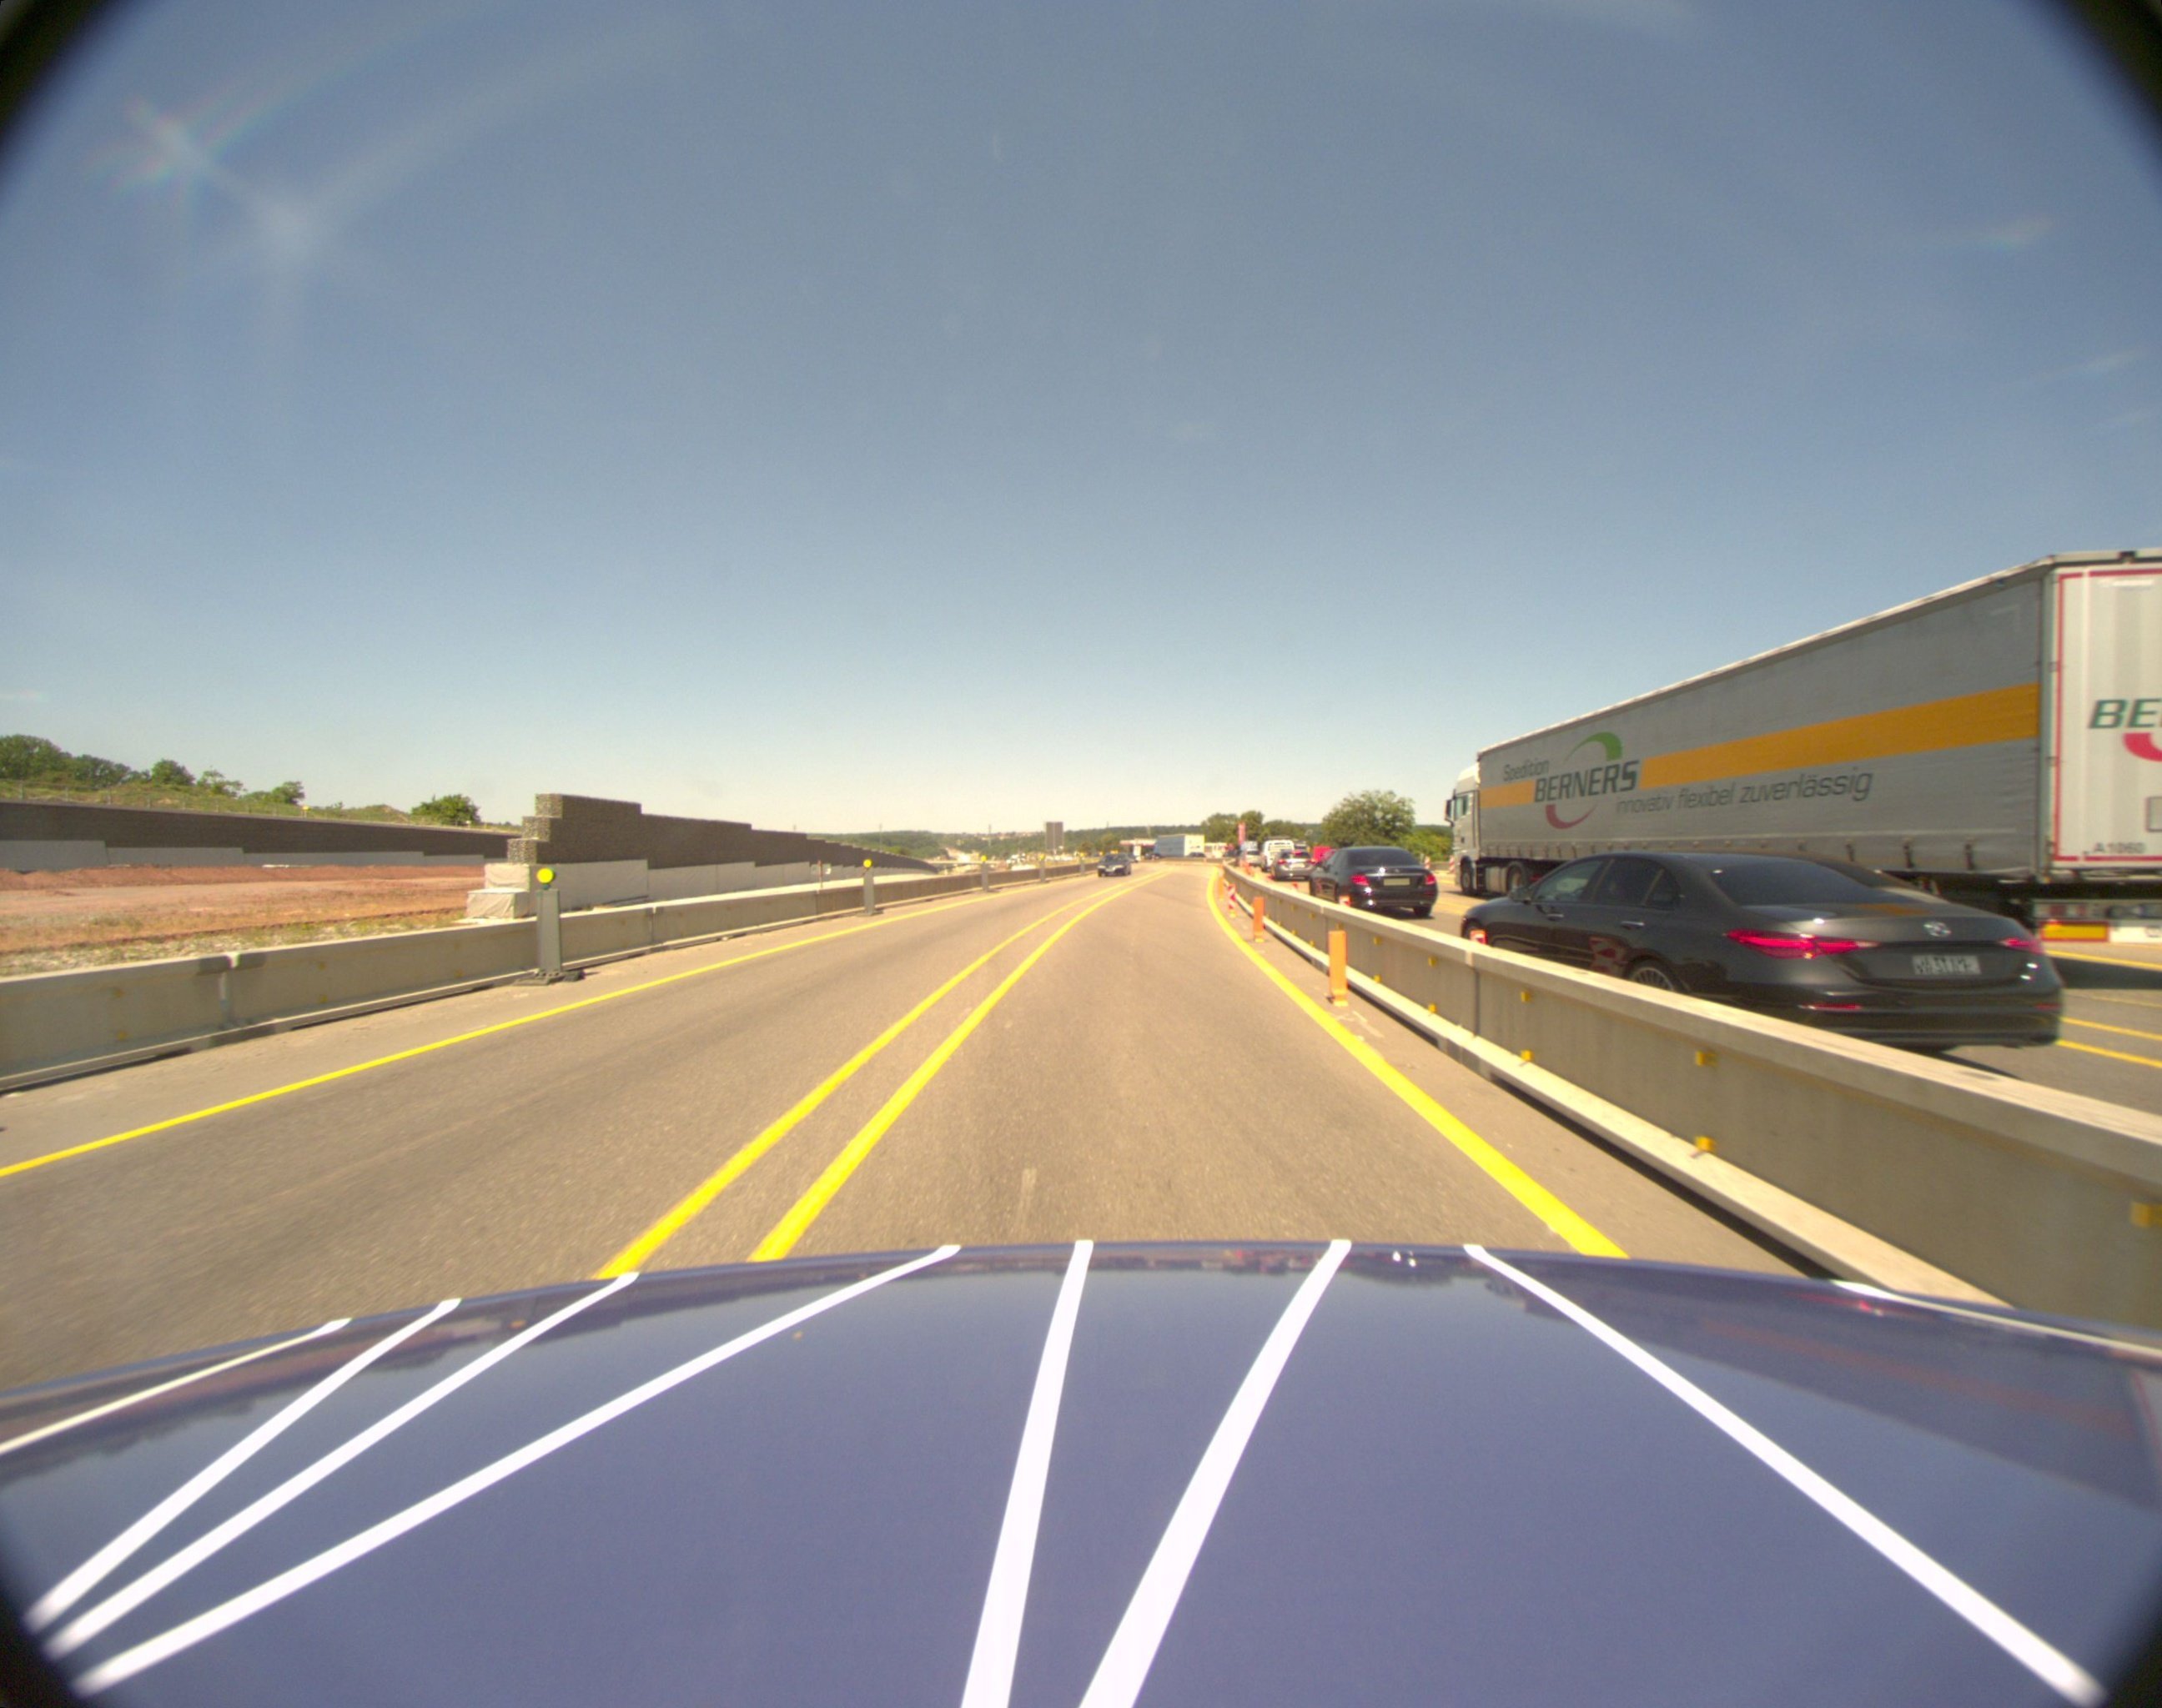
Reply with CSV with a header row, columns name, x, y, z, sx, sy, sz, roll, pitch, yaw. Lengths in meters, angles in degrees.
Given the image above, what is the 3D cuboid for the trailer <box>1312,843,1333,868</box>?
name,x,y,z,sx,sy,sz,roll,pitch,yaw
trailer,41.867,0.346,131.309,3.153,4.087,14.186,2,0,18

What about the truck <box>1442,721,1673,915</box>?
name,x,y,z,sx,sy,sz,roll,pitch,yaw
truck,11.926,-0.788,19.797,2.776,4.235,6.202,0,0,8

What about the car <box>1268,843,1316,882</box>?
name,x,y,z,sx,sy,sz,roll,pitch,yaw
car,9.466,0.351,34.281,1.512,1.595,3.954,-2,1,7

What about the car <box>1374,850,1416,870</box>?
name,x,y,z,sx,sy,sz,roll,pitch,yaw
car,22.779,0.414,55.312,1.808,1.385,4.658,2,1,9

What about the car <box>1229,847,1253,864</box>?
name,x,y,z,sx,sy,sz,roll,pitch,yaw
car,17.563,0.141,83.388,1.779,1.754,4.711,2,0,2

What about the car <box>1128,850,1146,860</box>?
name,x,y,z,sx,sy,sz,roll,pitch,yaw
car,8.701,0.194,118.601,2.022,1.436,4.585,0,0,-7

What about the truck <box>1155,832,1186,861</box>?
name,x,y,z,sx,sy,sz,roll,pitch,yaw
truck,13.035,-1.013,111.169,2.924,4.104,6.133,1,0,-9

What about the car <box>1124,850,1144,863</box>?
name,x,y,z,sx,sy,sz,roll,pitch,yaw
car,7.116,0.334,103.184,1.819,1.652,3.997,-2,0,-8

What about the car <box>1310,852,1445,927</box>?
name,x,y,z,sx,sy,sz,roll,pitch,yaw
car,6.298,0.675,16.617,1.729,1.400,4.131,-1,0,6

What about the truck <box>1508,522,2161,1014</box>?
name,x,y,z,sx,sy,sz,roll,pitch,yaw
truck,10.872,-0.755,12.322,2.779,4.253,11.787,0,0,8

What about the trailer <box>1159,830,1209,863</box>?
name,x,y,z,sx,sy,sz,roll,pitch,yaw
trailer,13.963,-0.962,104.975,2.924,4.104,13.904,1,0,-9

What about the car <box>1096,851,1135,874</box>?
name,x,y,z,sx,sy,sz,roll,pitch,yaw
car,2.192,0.579,46.870,1.808,1.299,4.005,1,-2,11

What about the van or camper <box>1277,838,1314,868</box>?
name,x,y,z,sx,sy,sz,roll,pitch,yaw
van or camper,19.135,-0.116,67.992,2.103,2.526,6.308,1,1,7

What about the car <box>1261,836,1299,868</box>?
name,x,y,z,sx,sy,sz,roll,pitch,yaw
car,12.368,-0.108,47.497,1.876,1.862,5.062,-1,0,10

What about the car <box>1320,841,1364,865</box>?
name,x,y,z,sx,sy,sz,roll,pitch,yaw
car,17.429,-0.089,50.902,1.997,1.493,4.657,-1,0,9

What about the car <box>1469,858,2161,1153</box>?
name,x,y,z,sx,sy,sz,roll,pitch,yaw
car,4.856,0.787,5.998,1.659,1.444,4.249,-1,0,4

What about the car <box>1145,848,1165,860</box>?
name,x,y,z,sx,sy,sz,roll,pitch,yaw
car,10.176,0.015,105.348,1.773,1.598,4.707,2,0,-6

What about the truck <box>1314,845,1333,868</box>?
name,x,y,z,sx,sy,sz,roll,pitch,yaw
truck,43.848,0.547,137.343,3.153,3.961,6.357,2,0,18

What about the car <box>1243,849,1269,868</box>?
name,x,y,z,sx,sy,sz,roll,pitch,yaw
car,14.935,0.374,64.969,1.760,1.606,4.231,-1,0,8
